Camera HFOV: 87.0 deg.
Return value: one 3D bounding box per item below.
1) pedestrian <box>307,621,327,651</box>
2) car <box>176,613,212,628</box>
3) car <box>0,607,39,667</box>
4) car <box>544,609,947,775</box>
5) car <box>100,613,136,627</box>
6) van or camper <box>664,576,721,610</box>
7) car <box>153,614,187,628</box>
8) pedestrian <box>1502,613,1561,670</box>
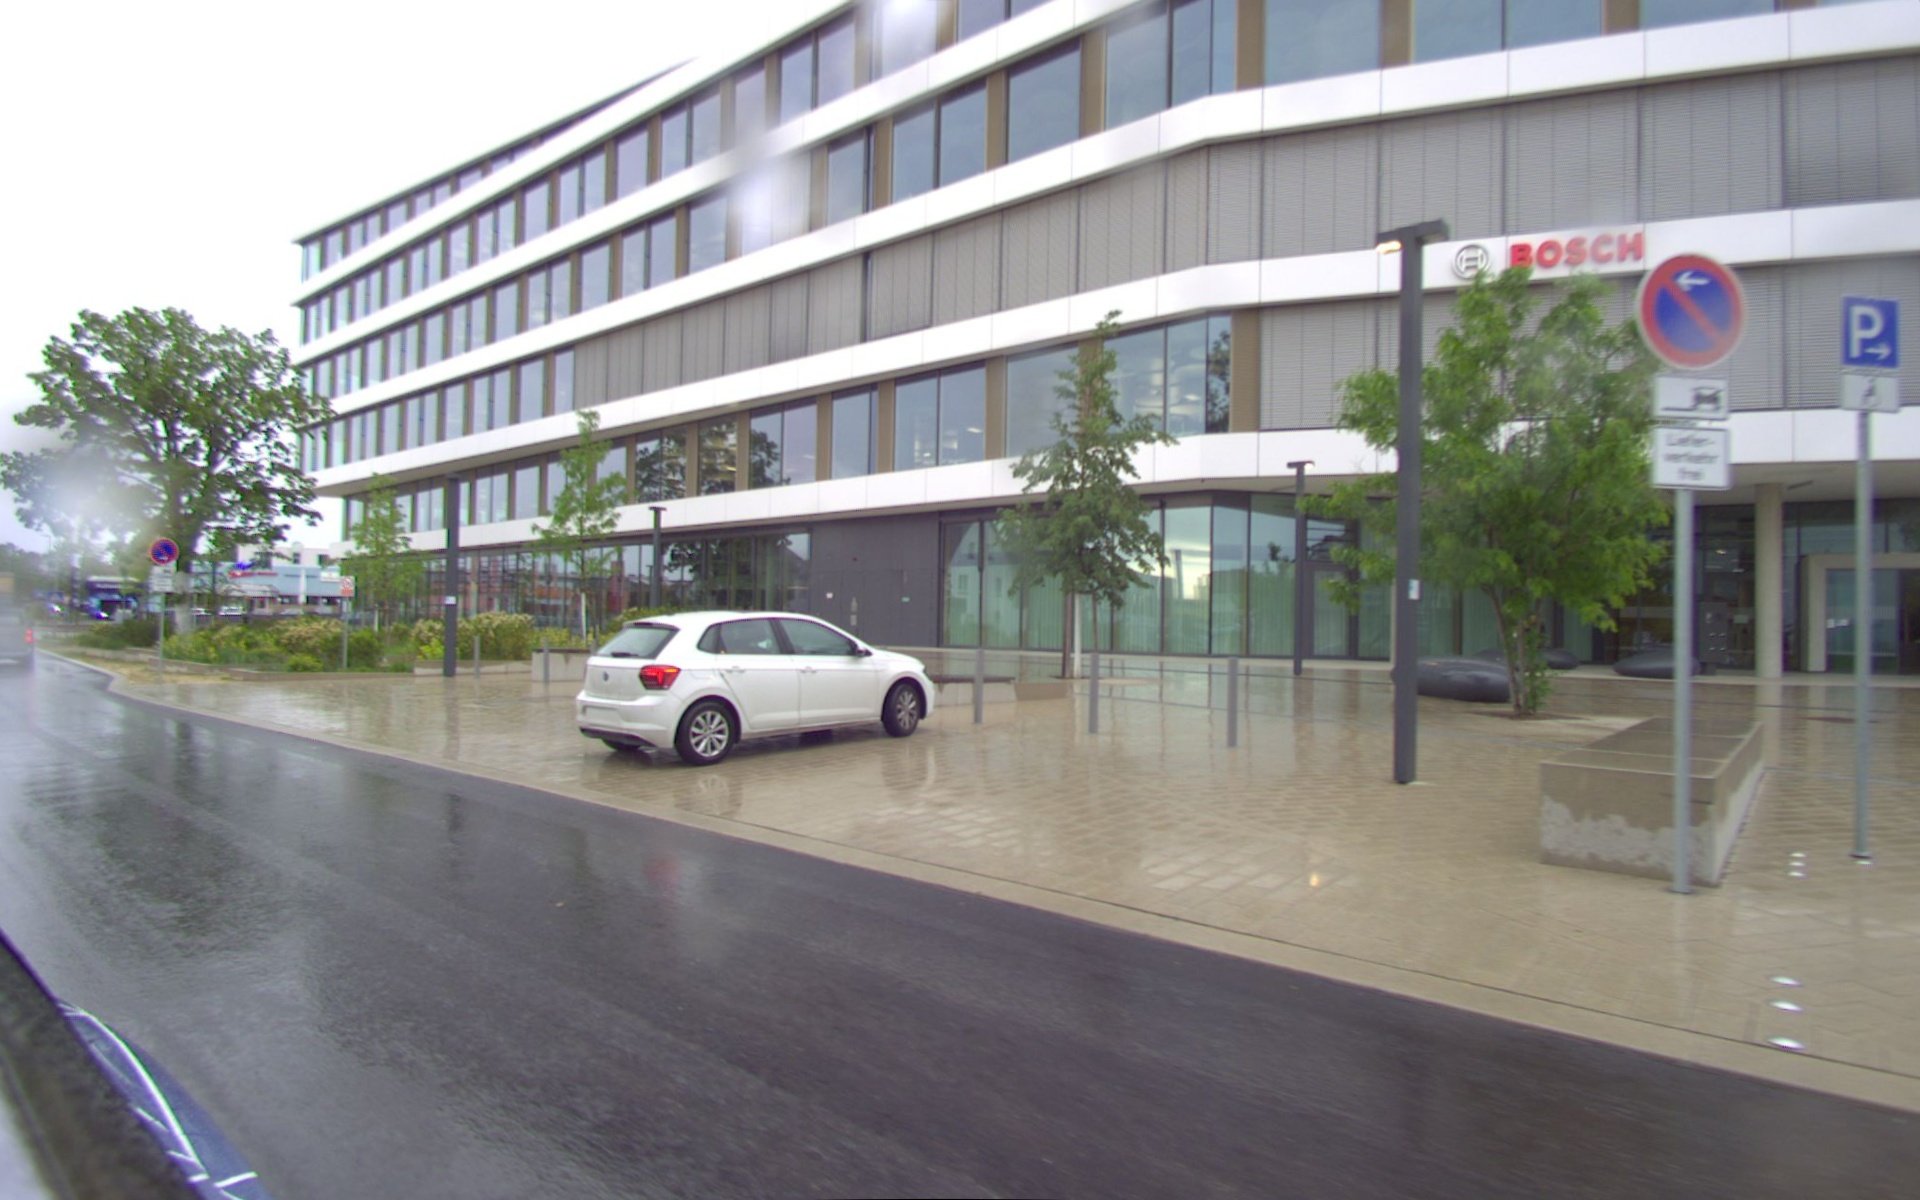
[{"bbox_3d":[-38.297,2.111,60.274,0.957,1.716,0.716,1,3,44],"label":"pedestrian"},{"bbox_3d":[-71.363,1.924,94.339,1.855,1.305,4.013,-2,0,-25],"label":"car"},{"bbox_3d":[-31.605,1.183,32.922,4.979,1.832,1.981,-1,-2,43],"label":"car"},{"bbox_3d":[-2.136,0.858,10.875,1.897,1.434,3.886,-1,-2,41],"label":"car"},{"bbox_3d":[-92.000,2.183,110.578,1.888,1.541,4.013,-1,-1,-23],"label":"car"},{"bbox_3d":[-25.763,-0.656,97.493,5.014,3.111,2.006,-1,-1,-28],"label":"van or camper"},{"bbox_3d":[-81.063,2.136,103.909,1.855,1.305,4.013,-2,0,-25],"label":"car"},{"bbox_3d":[14.078,1.014,24.940,1.051,1.324,0.895,-1,2,14],"label":"pedestrian"}]
